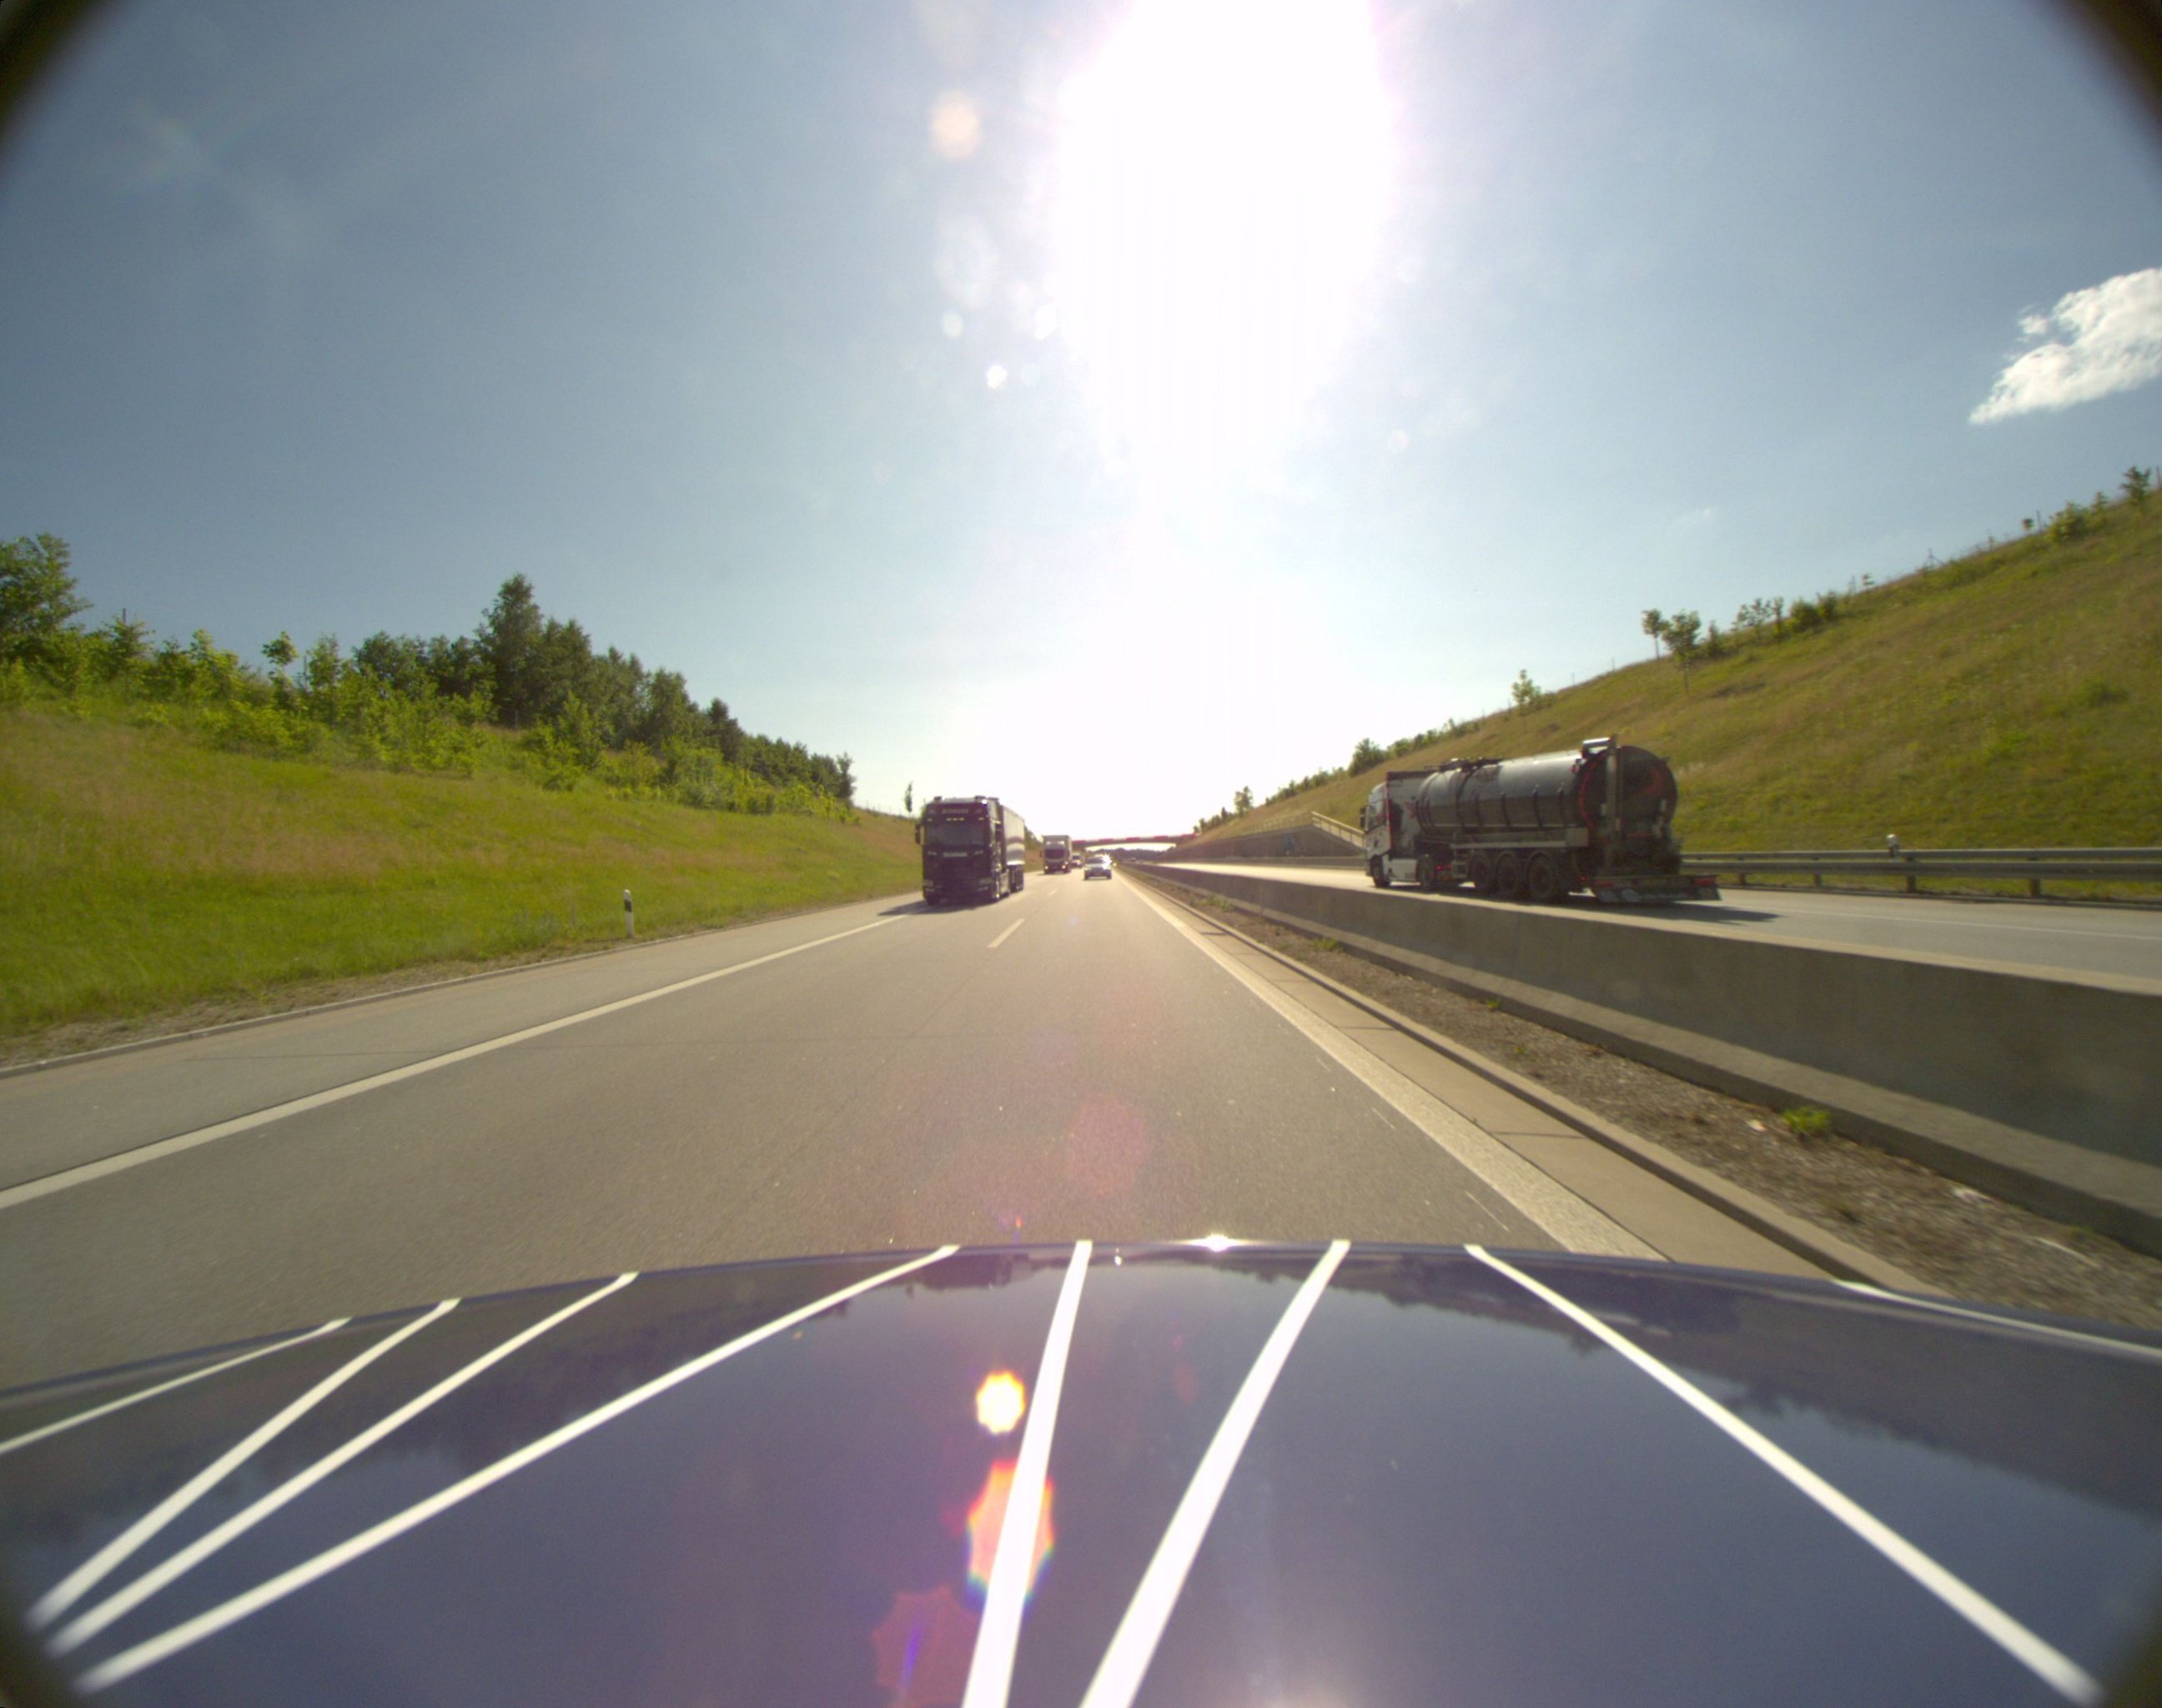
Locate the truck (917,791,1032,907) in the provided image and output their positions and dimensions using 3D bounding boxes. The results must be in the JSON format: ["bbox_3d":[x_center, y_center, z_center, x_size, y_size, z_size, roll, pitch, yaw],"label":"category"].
[{"bbox_3d":[-3.997,-0.221,32.255,2.623,3.795,13.402,-2,1,1],"label":"truck"}]

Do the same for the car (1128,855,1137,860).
[{"bbox_3d":[13.973,0.946,205.781,1.858,1.453,4.727,-3,0,-1],"label":"car"}]

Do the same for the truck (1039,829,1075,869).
[{"bbox_3d":[-2.423,-0.549,81.732,3.025,3.795,13.402,-2,1,1],"label":"truck"}]

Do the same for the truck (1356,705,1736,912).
[{"bbox_3d":[11.303,-0.935,20.997,2.763,3.918,12.446,-2,1,0],"label":"truck"}]

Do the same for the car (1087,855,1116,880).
[{"bbox_3d":[1.432,0.898,52.176,1.795,1.501,3.635,-4,1,3],"label":"car"}]

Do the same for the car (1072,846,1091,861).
[{"bbox_3d":[0.087,-0.096,119.832,2.816,2.143,5.946,-2,1,-1],"label":"car"}]

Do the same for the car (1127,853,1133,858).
[{"bbox_3d":[15.945,0.447,247.176,1.858,1.453,4.729,-2,0,4],"label":"car"}]
